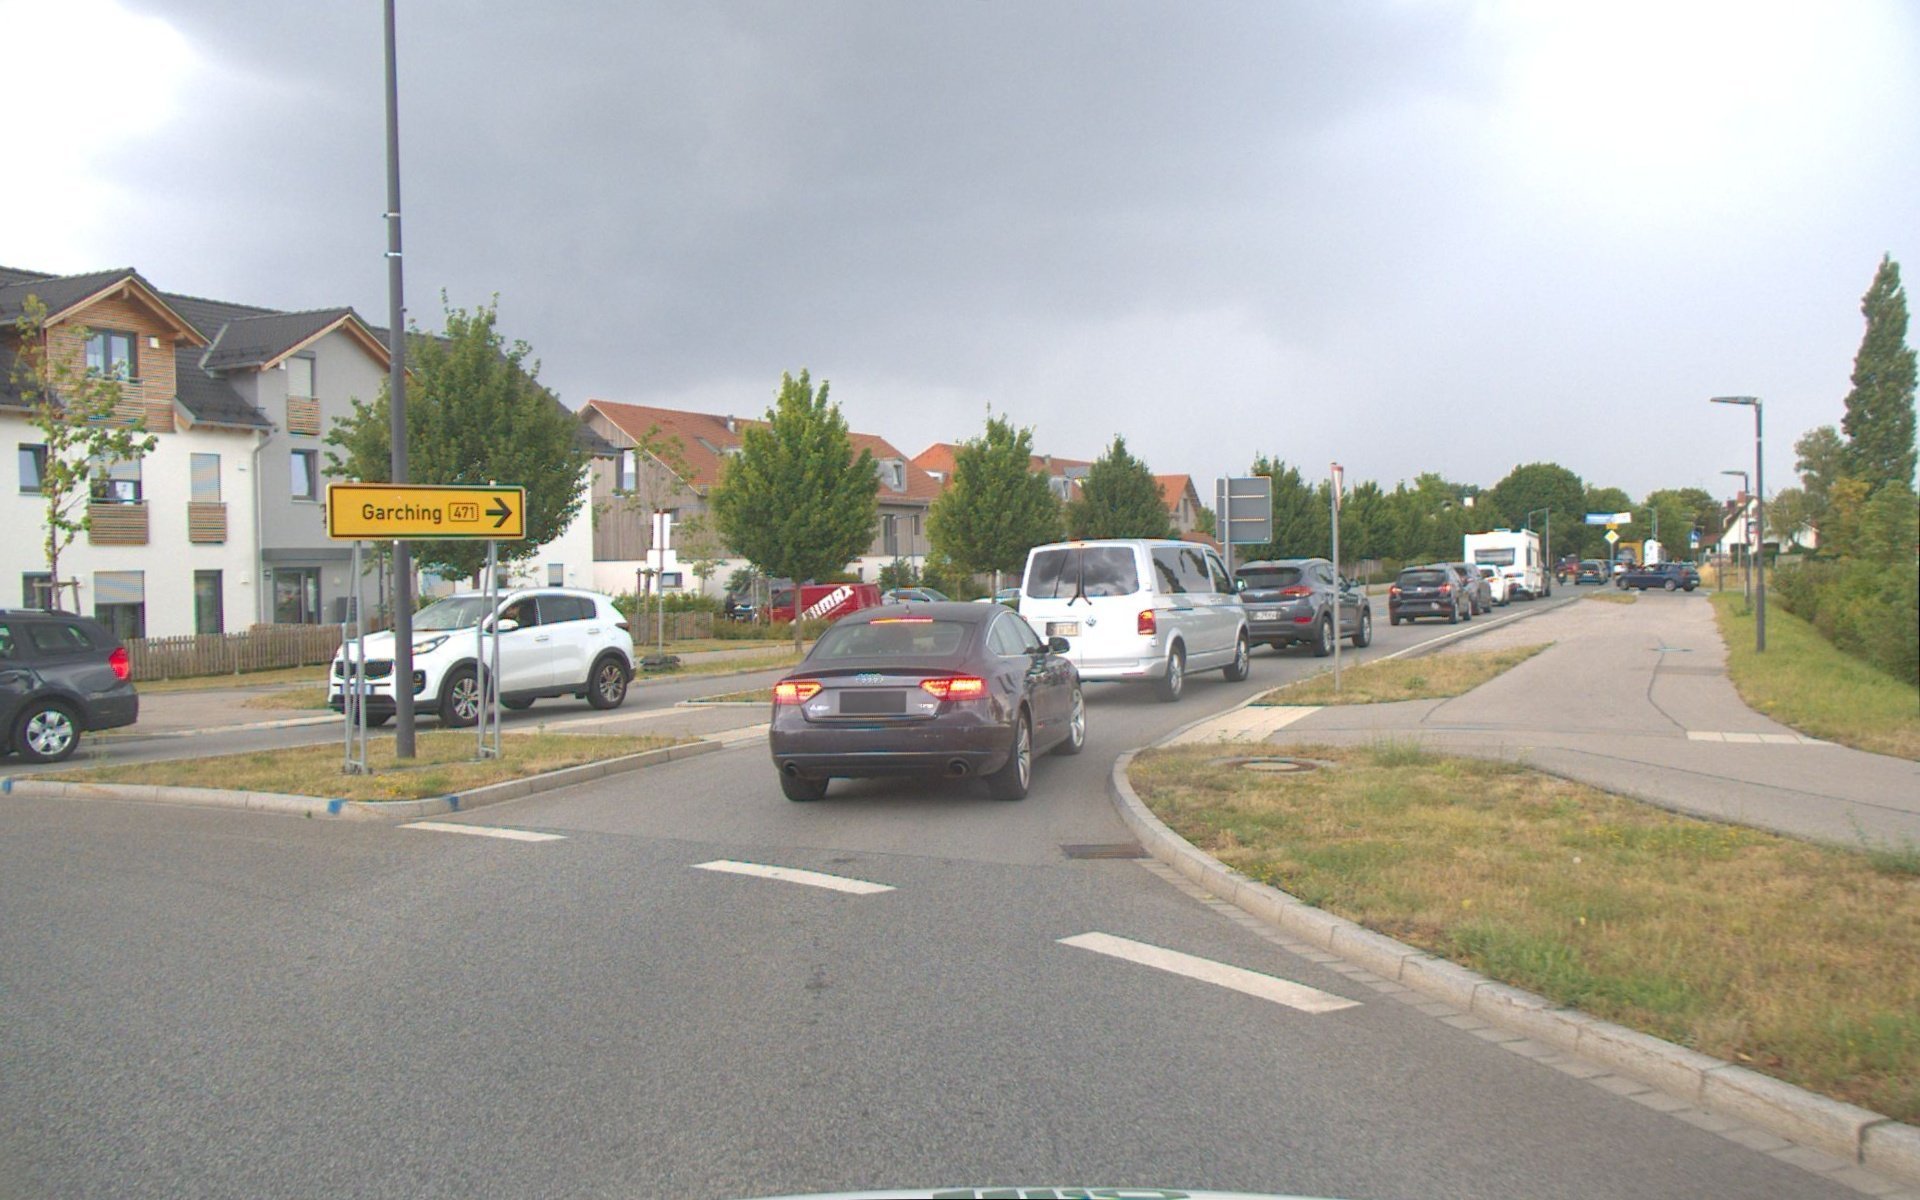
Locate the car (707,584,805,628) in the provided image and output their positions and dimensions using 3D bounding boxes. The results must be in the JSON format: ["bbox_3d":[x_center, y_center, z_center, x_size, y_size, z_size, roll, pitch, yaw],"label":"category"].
[{"bbox_3d":[-8.776,0.244,71.423,1.956,1.803,4.458,0,0,29],"label":"car"}]

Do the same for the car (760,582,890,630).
[{"bbox_3d":[-5.035,0.210,61.502,4.443,1.709,1.997,0,0,28],"label":"car"}]

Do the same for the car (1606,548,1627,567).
[{"bbox_3d":[67.337,-4.335,169.634,1.953,1.870,3.999,1,1,23],"label":"car"}]

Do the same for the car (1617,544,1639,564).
[{"bbox_3d":[78.767,-5.403,194.932,1.956,2.250,3.994,0,1,29],"label":"car"}]

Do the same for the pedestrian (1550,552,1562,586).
[{"bbox_3d":[37.059,-1.934,102.840,0.568,2.048,0.680,3,2,30],"label":"pedestrian"}]

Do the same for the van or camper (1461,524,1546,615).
[{"bbox_3d":[21.478,-1.138,65.155,2.572,3.381,6.818,0,0,24],"label":"van or camper"}]

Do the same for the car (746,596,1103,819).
[{"bbox_3d":[-0.086,0.694,12.911,1.746,1.416,4.136,0,0,14],"label":"car"}]

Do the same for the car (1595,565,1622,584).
[{"bbox_3d":[50.929,-1.990,129.830,1.808,1.461,3.999,1,1,24],"label":"car"}]

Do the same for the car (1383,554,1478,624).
[{"bbox_3d":[11.923,-0.285,41.764,1.741,1.646,3.998,-1,0,24],"label":"car"}]

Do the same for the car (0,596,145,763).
[{"bbox_3d":[-10.466,0.821,16.038,1.741,1.591,4.256,-2,0,40],"label":"car"}]

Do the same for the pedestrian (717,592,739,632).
[{"bbox_3d":[-9.343,0.464,66.637,0.645,1.586,0.583,0,1,26],"label":"pedestrian"}]

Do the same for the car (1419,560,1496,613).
[{"bbox_3d":[14.548,-0.401,48.295,1.740,1.459,3.801,-1,0,23],"label":"car"}]

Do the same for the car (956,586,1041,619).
[{"bbox_3d":[1.841,0.134,78.151,3.653,1.507,1.686,0,1,22],"label":"car"}]

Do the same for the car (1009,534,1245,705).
[{"bbox_3d":[2.241,0.203,21.222,1.830,1.968,3.998,0,0,24],"label":"car"}]

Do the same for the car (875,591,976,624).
[{"bbox_3d":[-1.447,0.320,69.275,3.835,1.338,1.842,0,0,22],"label":"car"}]

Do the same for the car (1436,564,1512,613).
[{"bbox_3d":[17.736,-0.382,57.016,1.954,1.624,3.997,0,0,26],"label":"car"}]

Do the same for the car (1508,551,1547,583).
[{"bbox_3d":[36.989,-2.133,107.693,1.954,2.049,3.997,1,1,25],"label":"car"}]

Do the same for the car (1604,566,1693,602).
[{"bbox_3d":[35.239,-0.802,84.746,1.606,1.825,3.937,-1,0,-43],"label":"car"}]

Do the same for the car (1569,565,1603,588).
[{"bbox_3d":[40.396,-1.522,106.693,1.808,1.461,3.999,1,1,24],"label":"car"}]

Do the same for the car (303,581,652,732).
[{"bbox_3d":[-6.085,0.652,21.413,1.676,1.654,4.445,-2,1,28],"label":"car"}]

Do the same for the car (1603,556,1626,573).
[{"bbox_3d":[58.752,-3.160,148.474,1.808,1.461,3.999,1,1,24],"label":"car"}]

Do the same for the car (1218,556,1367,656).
[{"bbox_3d":[5.976,0.076,29.391,1.741,1.646,3.998,0,0,25],"label":"car"}]
